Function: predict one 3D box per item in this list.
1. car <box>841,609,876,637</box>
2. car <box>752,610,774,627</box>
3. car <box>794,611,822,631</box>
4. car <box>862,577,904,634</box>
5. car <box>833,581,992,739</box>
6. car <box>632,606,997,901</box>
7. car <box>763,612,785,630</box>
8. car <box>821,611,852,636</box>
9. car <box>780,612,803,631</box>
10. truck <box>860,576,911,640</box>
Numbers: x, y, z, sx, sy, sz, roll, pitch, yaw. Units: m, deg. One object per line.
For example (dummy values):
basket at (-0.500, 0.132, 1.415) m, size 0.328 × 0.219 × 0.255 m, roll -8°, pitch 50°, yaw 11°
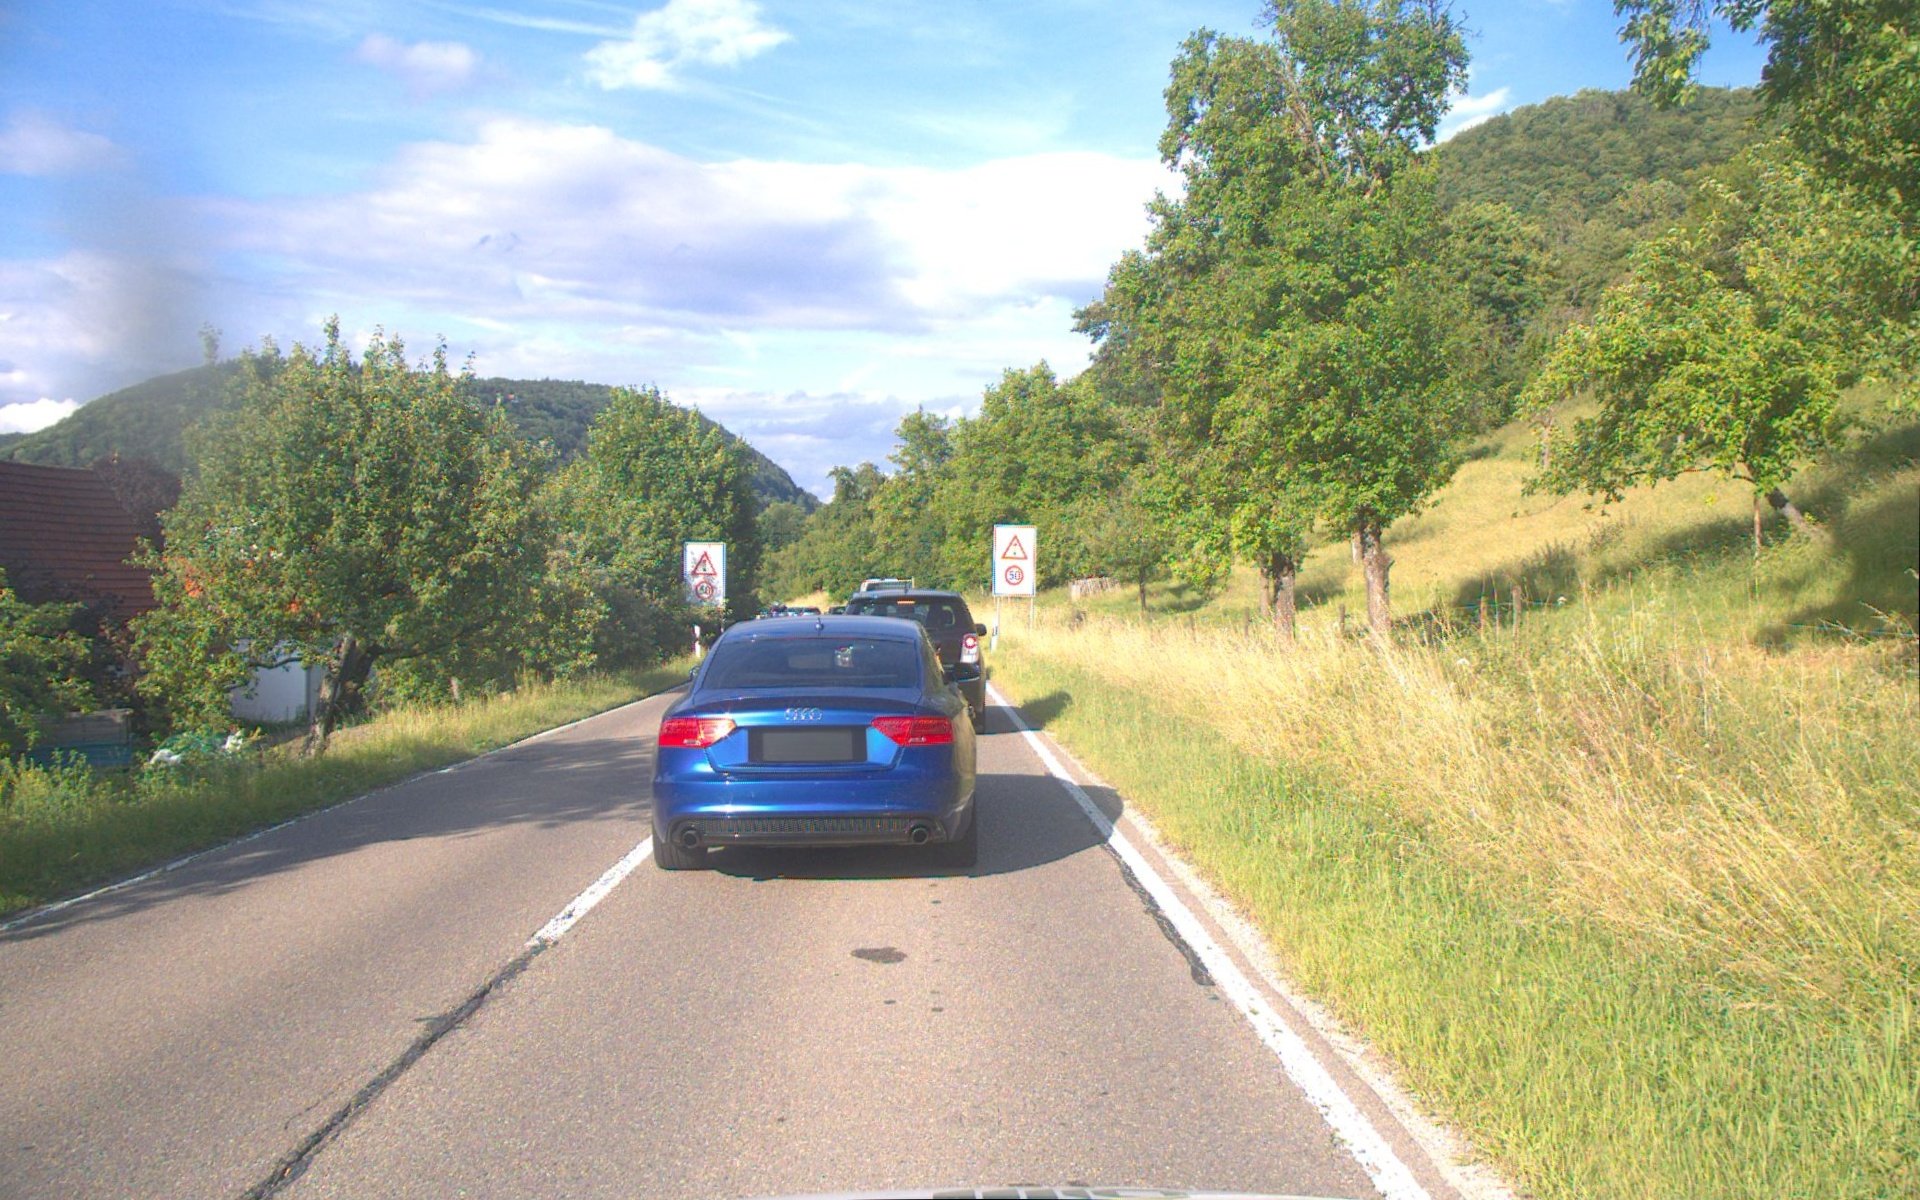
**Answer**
car at (-5.947, 1.325, 96.773) m, size 1.715 × 1.522 × 3.772 m, roll 2°, pitch 0°, yaw -7°
car at (-18.973, 1.791, 159.163) m, size 1.532 × 1.522 × 3.765 m, roll 2°, pitch 0°, yaw -14°
car at (-12.262, 1.675, 133.362) m, size 1.717 × 1.522 × 3.767 m, roll 2°, pitch 0°, yaw -12°
car at (-3.579, 0.253, 76.550) m, size 1.757 × 2.496 × 3.916 m, roll 2°, pitch 0°, yaw -4°
car at (-0.561, 0.626, 19.493) m, size 1.658 × 1.652 × 3.788 m, roll 1°, pitch 0°, yaw -2°
car at (-0.753, 0.760, 10.219) m, size 1.769 × 1.406 × 4.213 m, roll -1°, pitch 0°, yaw -1°
car at (-17.028, 1.880, 151.268) m, size 1.532 × 1.522 × 3.765 m, roll 2°, pitch 0°, yaw -14°
car at (-8.380, 1.569, 111.782) m, size 1.716 × 1.522 × 3.769 m, roll 2°, pitch 0°, yaw -10°
car at (-14.517, 1.843, 142.521) m, size 1.532 × 1.522 × 3.766 m, roll 2°, pitch 0°, yaw -13°
truck at (-3.005, 0.307, 66.988) m, size 1.911 × 2.386 × 5.091 m, roll 2°, pitch 0°, yaw -2°
